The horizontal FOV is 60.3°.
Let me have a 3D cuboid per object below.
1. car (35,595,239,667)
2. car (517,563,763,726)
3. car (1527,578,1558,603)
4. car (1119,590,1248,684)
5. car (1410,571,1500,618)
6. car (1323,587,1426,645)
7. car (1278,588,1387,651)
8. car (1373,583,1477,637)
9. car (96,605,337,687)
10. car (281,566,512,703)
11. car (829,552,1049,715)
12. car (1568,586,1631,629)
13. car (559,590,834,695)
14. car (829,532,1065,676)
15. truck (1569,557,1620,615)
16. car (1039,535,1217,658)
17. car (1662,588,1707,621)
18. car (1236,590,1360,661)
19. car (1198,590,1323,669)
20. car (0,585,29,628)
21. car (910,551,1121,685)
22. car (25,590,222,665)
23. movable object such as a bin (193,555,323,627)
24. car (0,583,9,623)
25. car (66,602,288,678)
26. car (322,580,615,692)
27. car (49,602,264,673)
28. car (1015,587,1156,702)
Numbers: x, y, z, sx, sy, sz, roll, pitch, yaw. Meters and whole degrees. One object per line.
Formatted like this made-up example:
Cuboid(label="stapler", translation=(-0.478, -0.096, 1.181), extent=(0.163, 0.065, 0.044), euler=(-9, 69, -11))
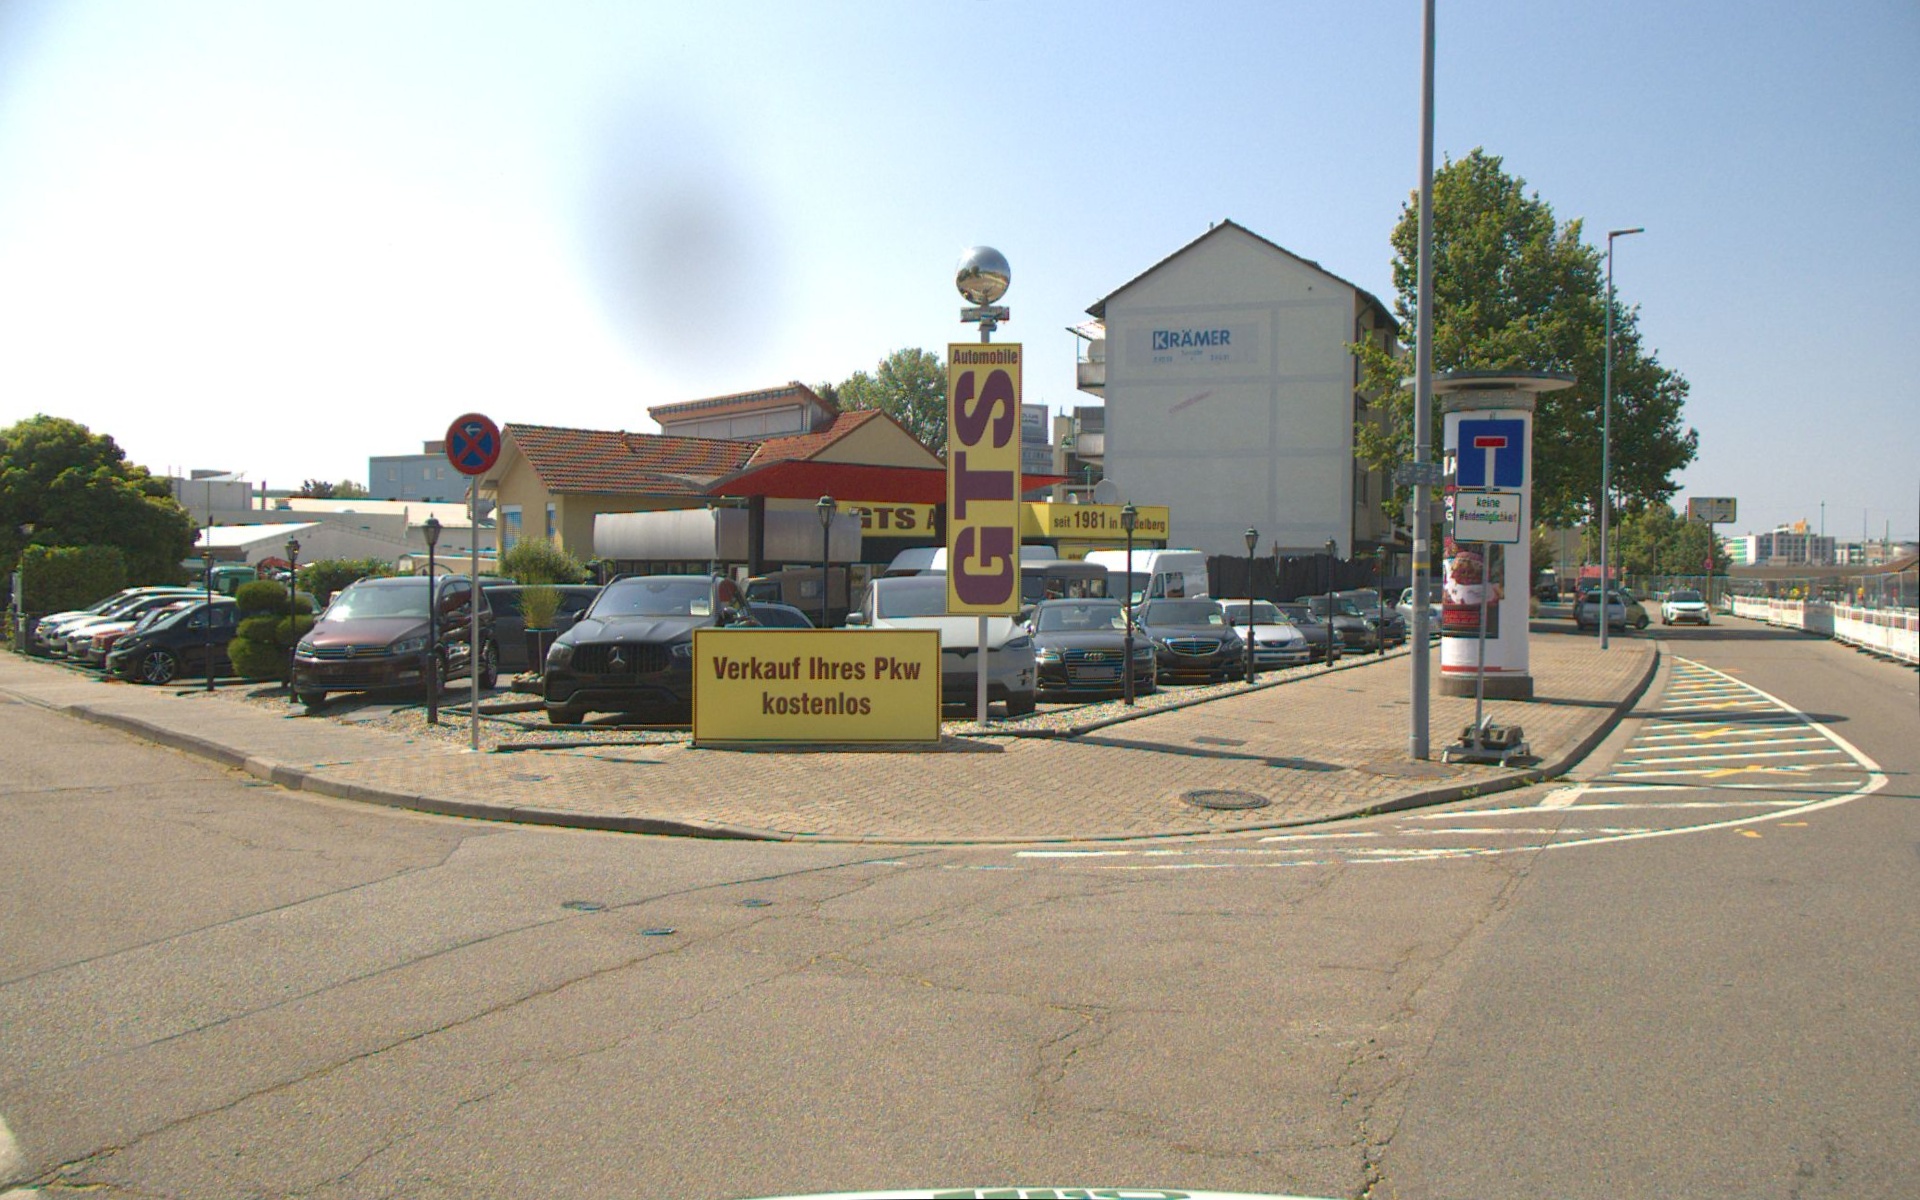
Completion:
Cuboid(label="car", translation=(-19.603, 0.703, 39.456), extent=(4.086, 1.631, 1.843), euler=(0, 0, -40))
Cuboid(label="car", translation=(-3.681, 0.522, 19.842), extent=(2.000, 1.737, 4.315), euler=(0, -1, 2))
Cuboid(label="car", translation=(47.784, -0.771, 135.699), extent=(1.899, 1.865, 3.920), euler=(4, 1, 26))
Cuboid(label="car", translation=(3.922, 0.626, 29.620), extent=(1.798, 1.498, 4.000), euler=(-2, 0, 1))
Cuboid(label="car", translation=(22.646, -0.261, 75.705), extent=(3.840, 1.993, 1.760), euler=(2, 1, 17))
Cuboid(label="car", translation=(11.698, 0.447, 46.871), extent=(1.634, 1.498, 3.997), euler=(-2, 0, -4))
Cuboid(label="car", translation=(9.557, 0.495, 42.662), extent=(1.634, 1.498, 3.997), euler=(-2, 0, -4))
Cuboid(label="car", translation=(13.911, 0.288, 49.740), extent=(1.741, 1.498, 3.997), euler=(-2, 0, -4))
Cuboid(label="car", translation=(-14.805, 0.869, 33.035), extent=(4.094, 1.515, 1.843), euler=(0, 0, -40))
Cuboid(label="car", translation=(-7.662, 0.428, 22.923), extent=(1.768, 1.685, 4.314), euler=(-1, 0, -1))
Cuboid(label="car", translation=(-0.400, 0.457, 20.332), extent=(1.939, 1.737, 4.652), euler=(-1, -2, -10))
Cuboid(label="car", translation=(24.066, 0.254, 62.150), extent=(1.833, 1.524, 4.028), euler=(0, 1, 26))
Cuboid(label="car", translation=(-4.373, 0.643, 28.147), extent=(1.877, 1.602, 4.668), euler=(0, 1, 37))
Cuboid(label="car", translation=(-0.123, 0.112, 35.512), extent=(2.235, 2.806, 6.139), euler=(0, -1, 31))
Cuboid(label="truck", translation=(30.843, -0.651, 80.340), extent=(2.192, 2.694, 5.681), euler=(1, 0, 22))
Cuboid(label="car", translation=(3.947, -0.052, 37.717), extent=(2.202, 2.472, 5.715), euler=(4, 1, 24))
Cuboid(label="car", translation=(32.438, 0.214, 74.110), extent=(1.682, 1.440, 4.077), euler=(1, 0, 22))
Cuboid(label="car", translation=(7.783, 0.577, 38.438), extent=(1.635, 1.498, 3.994), euler=(-2, 0, -6))
Cuboid(label="car", translation=(6.237, 0.600, 34.745), extent=(1.744, 1.498, 3.998), euler=(-2, 0, -2))
Cuboid(label="car", translation=(-41.359, 0.270, 69.412), extent=(3.799, 1.794, 1.832), euler=(1, 0, -37))
Cuboid(label="car", translation=(1.171, 0.359, 32.003), extent=(2.203, 2.391, 4.817), euler=(0, -1, 28))
Cuboid(label="car", translation=(-20.949, 0.651, 41.473), extent=(4.132, 1.780, 1.865), euler=(0, 0, -40))
Cuboid(label="movable object such as a bin", translation=(-29.465, -0.370, 69.453), extent=(4.776, 2.957, 1.976), euler=(0, 0, -34))
Cuboid(label="car", translation=(-44.971, 0.086, 74.207), extent=(3.799, 1.794, 1.759), euler=(1, 0, -37))
Cuboid(label="car", translation=(-16.736, 0.808, 35.417), extent=(4.020, 1.515, 1.773), euler=(0, 0, -40))
Cuboid(label="car", translation=(-8.567, 0.600, 29.253), extent=(4.793, 1.874, 2.155), euler=(0, 0, -14))
Cuboid(label="car", translation=(-18.114, 0.799, 37.345), extent=(4.080, 1.515, 1.843), euler=(0, 0, -40))
Cuboid(label="car", translation=(1.777, 0.619, 24.610), extent=(1.798, 1.498, 4.000), euler=(-2, 0, 1))
